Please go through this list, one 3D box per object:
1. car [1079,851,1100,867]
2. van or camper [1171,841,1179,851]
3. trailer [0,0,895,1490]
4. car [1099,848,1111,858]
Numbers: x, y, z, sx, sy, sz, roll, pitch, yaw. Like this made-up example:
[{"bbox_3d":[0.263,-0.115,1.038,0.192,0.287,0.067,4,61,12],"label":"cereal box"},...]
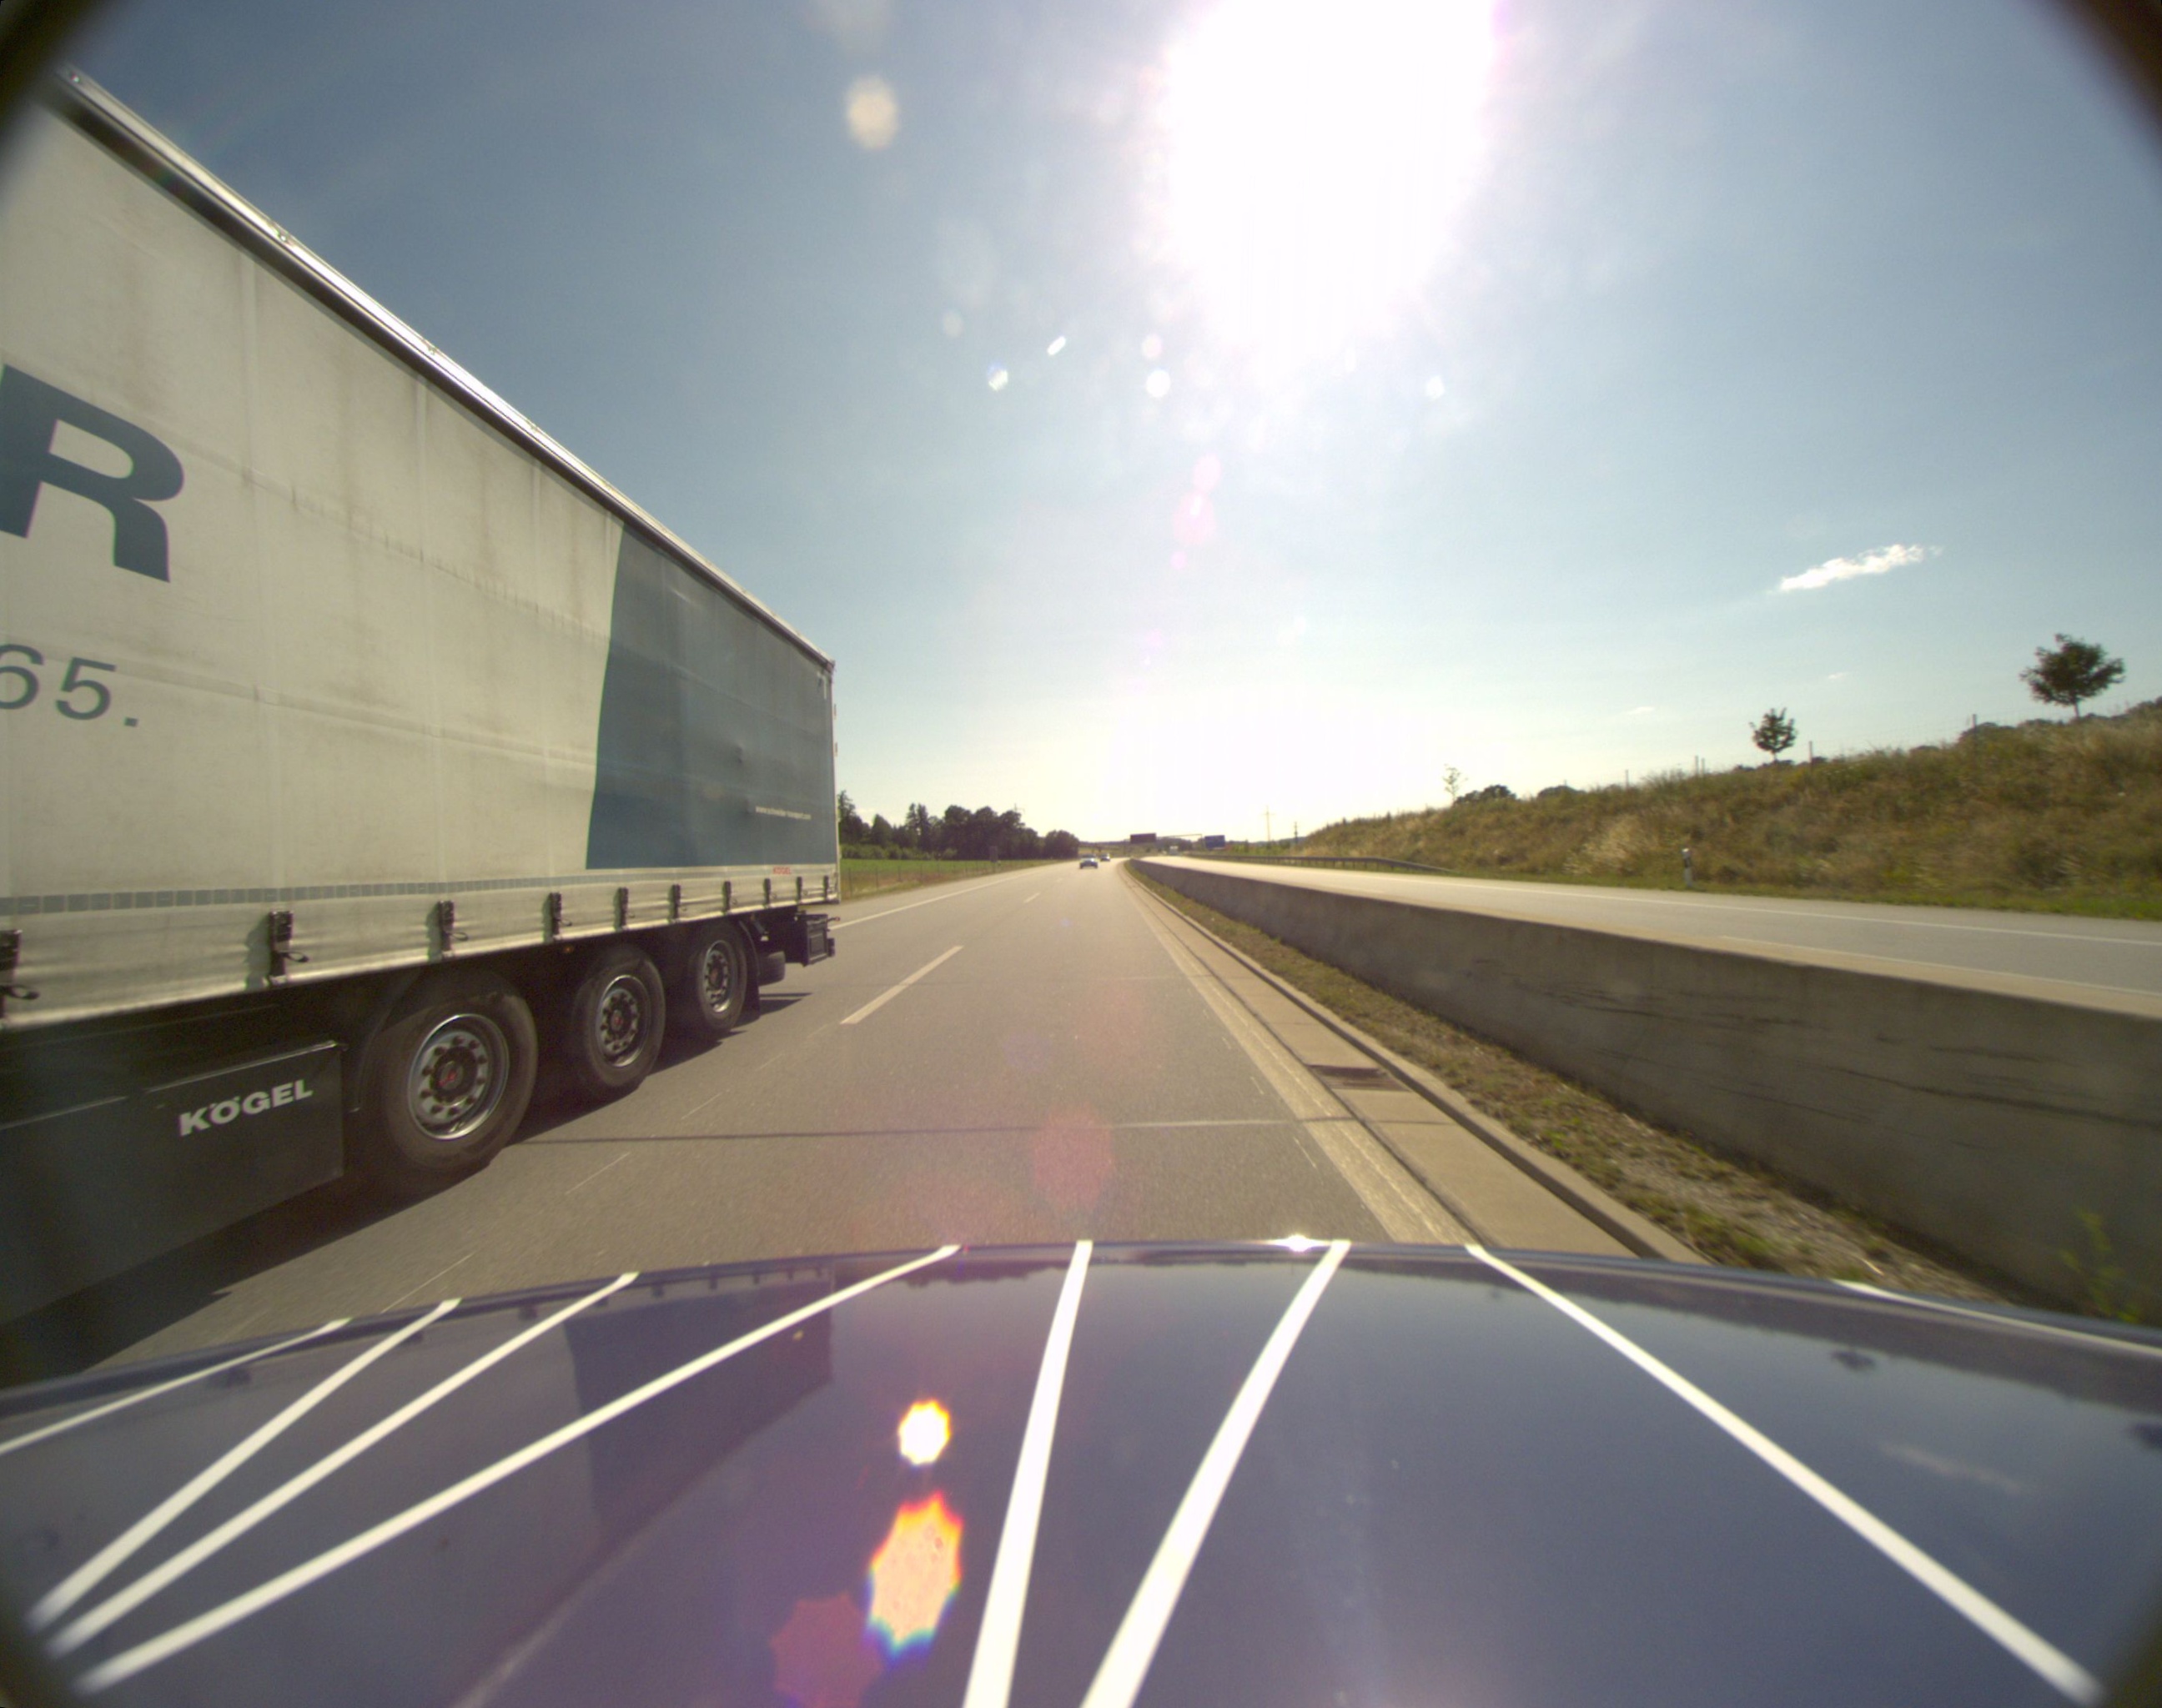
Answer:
[{"bbox_3d":[0.914,0.480,79.348,1.891,1.565,3.793,-2,0,5],"label":"car"},{"bbox_3d":[31.312,-2.644,253.543,2.596,3.062,7.440,-2,0,7],"label":"van or camper"},{"bbox_3d":[-4.518,-0.399,3.586,3.184,4.269,15.458,-2,0,0],"label":"trailer"},{"bbox_3d":[4.267,-0.158,134.915,1.891,1.565,3.793,-2,0,5],"label":"car"}]
